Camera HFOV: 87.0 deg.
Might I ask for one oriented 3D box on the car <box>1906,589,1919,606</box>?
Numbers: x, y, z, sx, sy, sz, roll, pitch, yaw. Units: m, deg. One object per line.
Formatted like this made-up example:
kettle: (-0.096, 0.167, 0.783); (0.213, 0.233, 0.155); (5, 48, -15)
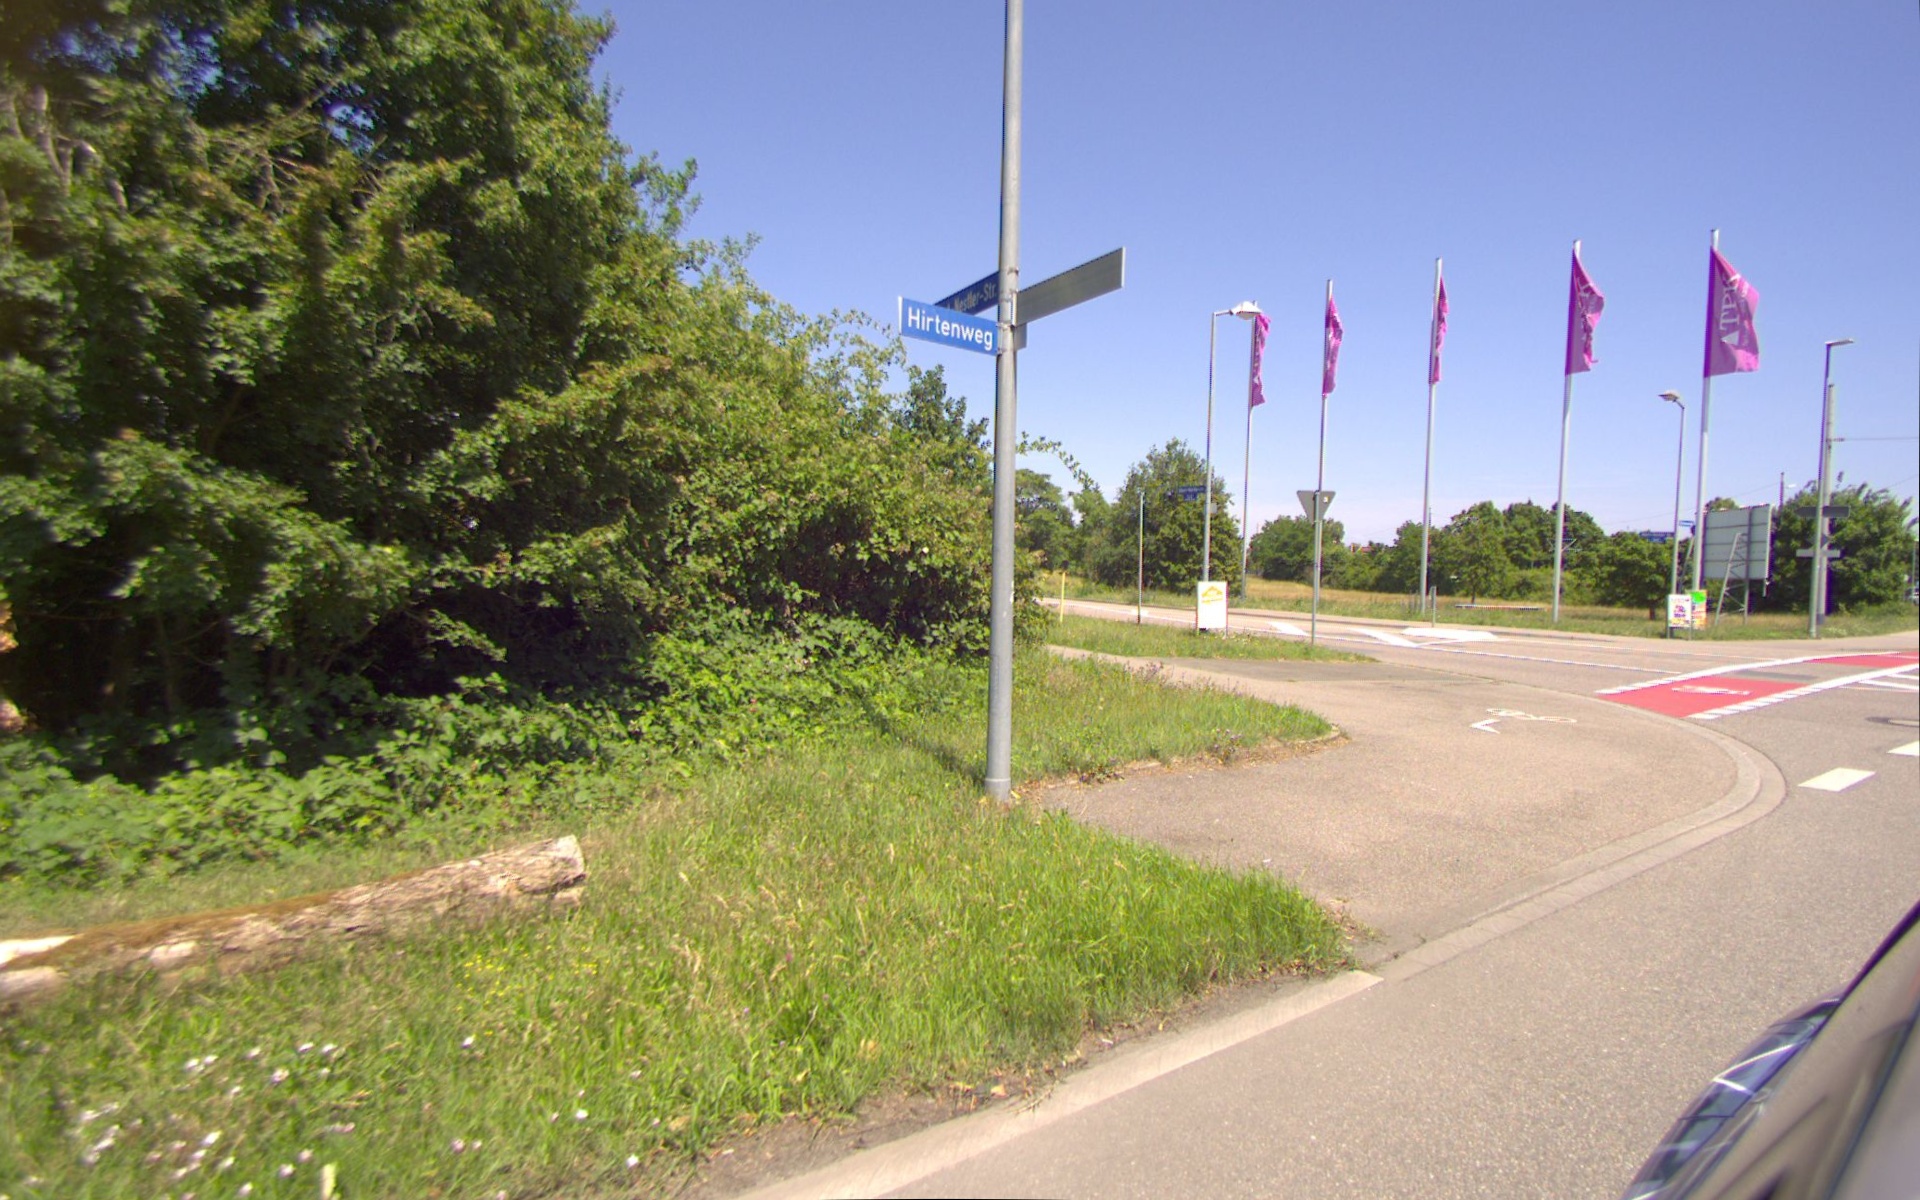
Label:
car: (91.477, -0.175, 94.421); (1.837, 1.595, 4.419); (2, 2, -6)

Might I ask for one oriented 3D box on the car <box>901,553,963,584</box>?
car: (-1.501, -1.630, 52.987); (1.672, 1.552, 3.631); (1, 0, -31)

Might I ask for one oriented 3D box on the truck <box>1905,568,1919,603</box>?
truck: (99.211, -1.334, 100.595); (2.536, 3.576, 7.724); (4, 1, -6)
